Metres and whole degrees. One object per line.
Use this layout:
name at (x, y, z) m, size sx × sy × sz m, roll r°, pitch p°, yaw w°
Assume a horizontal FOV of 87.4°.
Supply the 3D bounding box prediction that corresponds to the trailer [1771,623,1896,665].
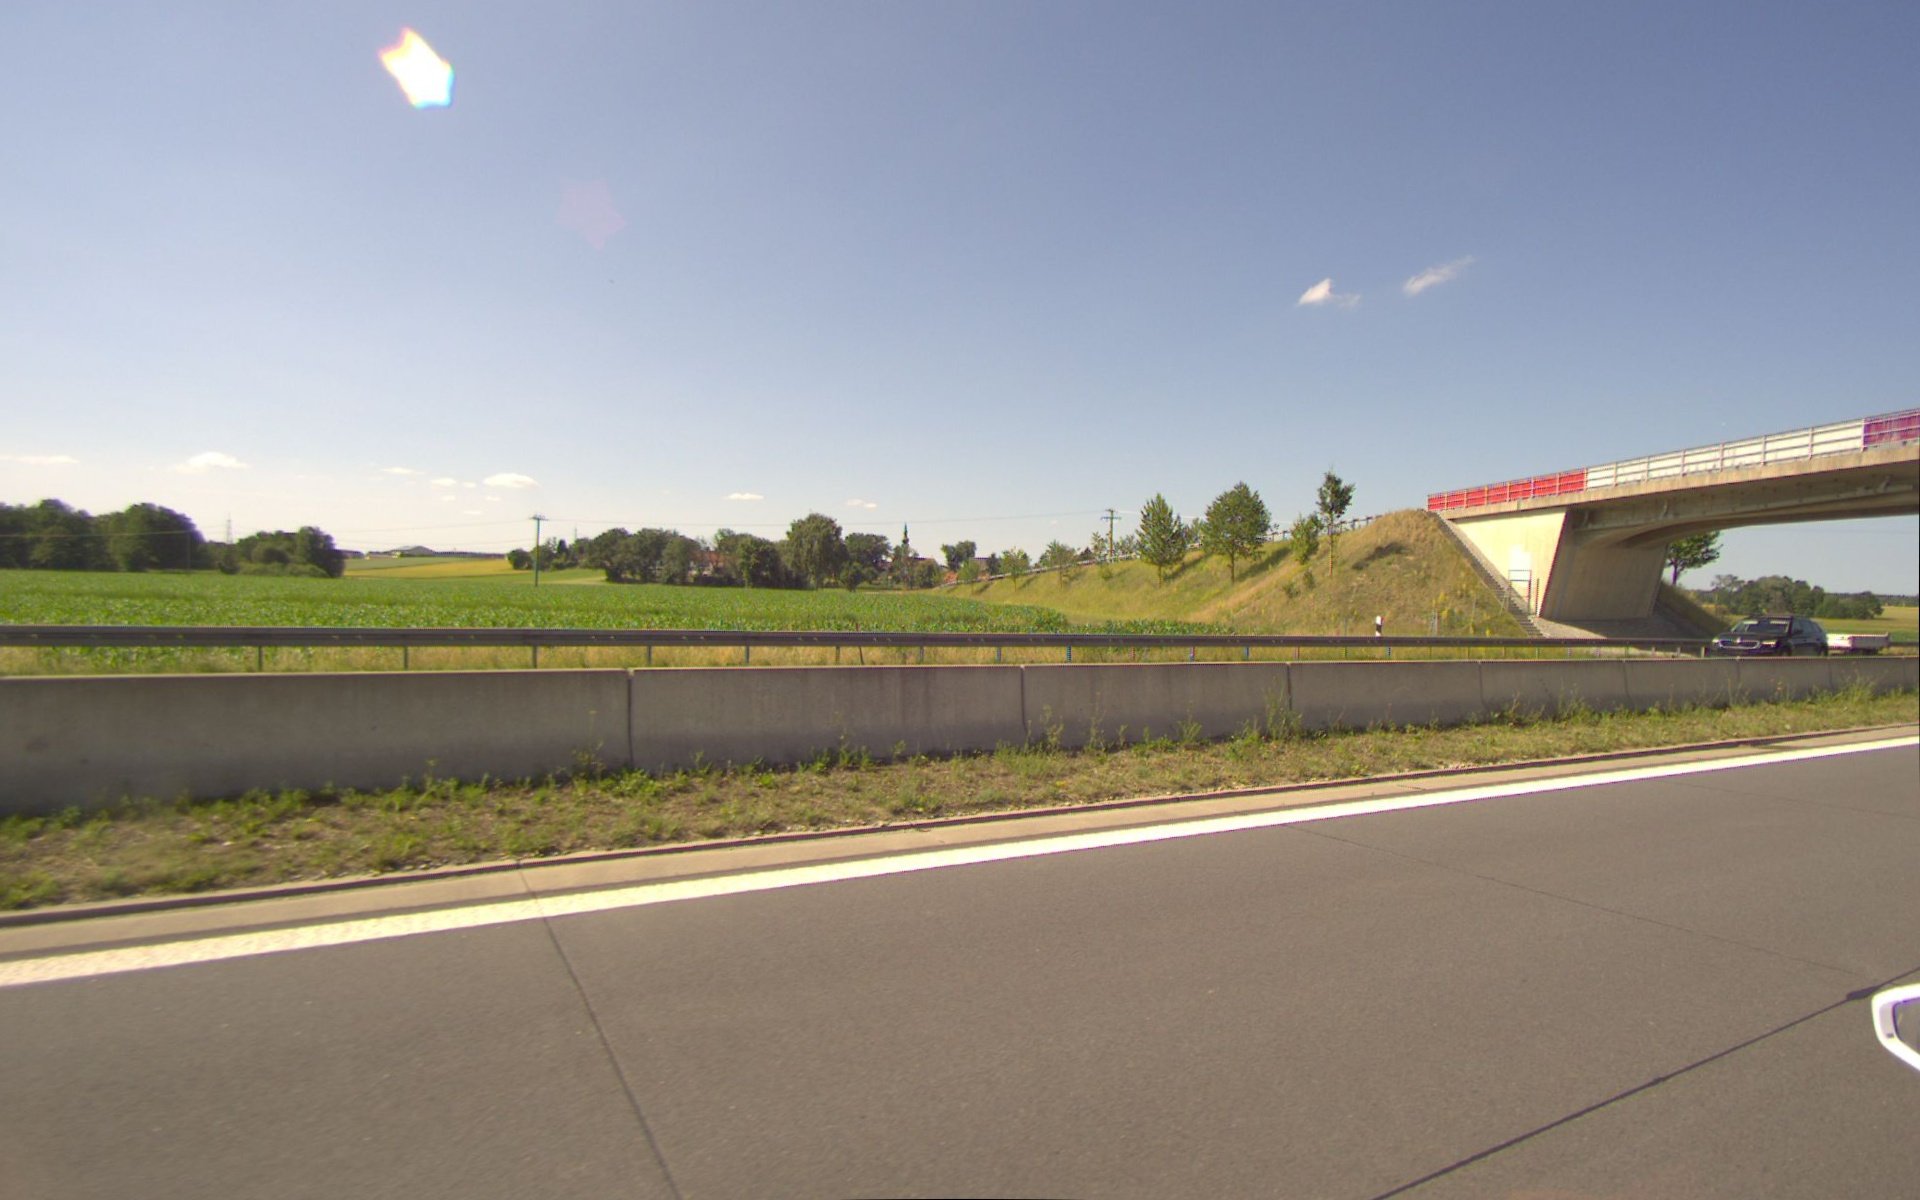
trailer at (29.865, 1.482, 34.327) m, size 4.213 × 1.275 × 1.983 m, roll 1°, pitch 1°, yaw -31°

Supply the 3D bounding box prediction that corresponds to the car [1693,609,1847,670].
car at (25.681, 1.226, 31.799) m, size 5.522 × 1.754 × 1.983 m, roll 1°, pitch 1°, yaw -31°
